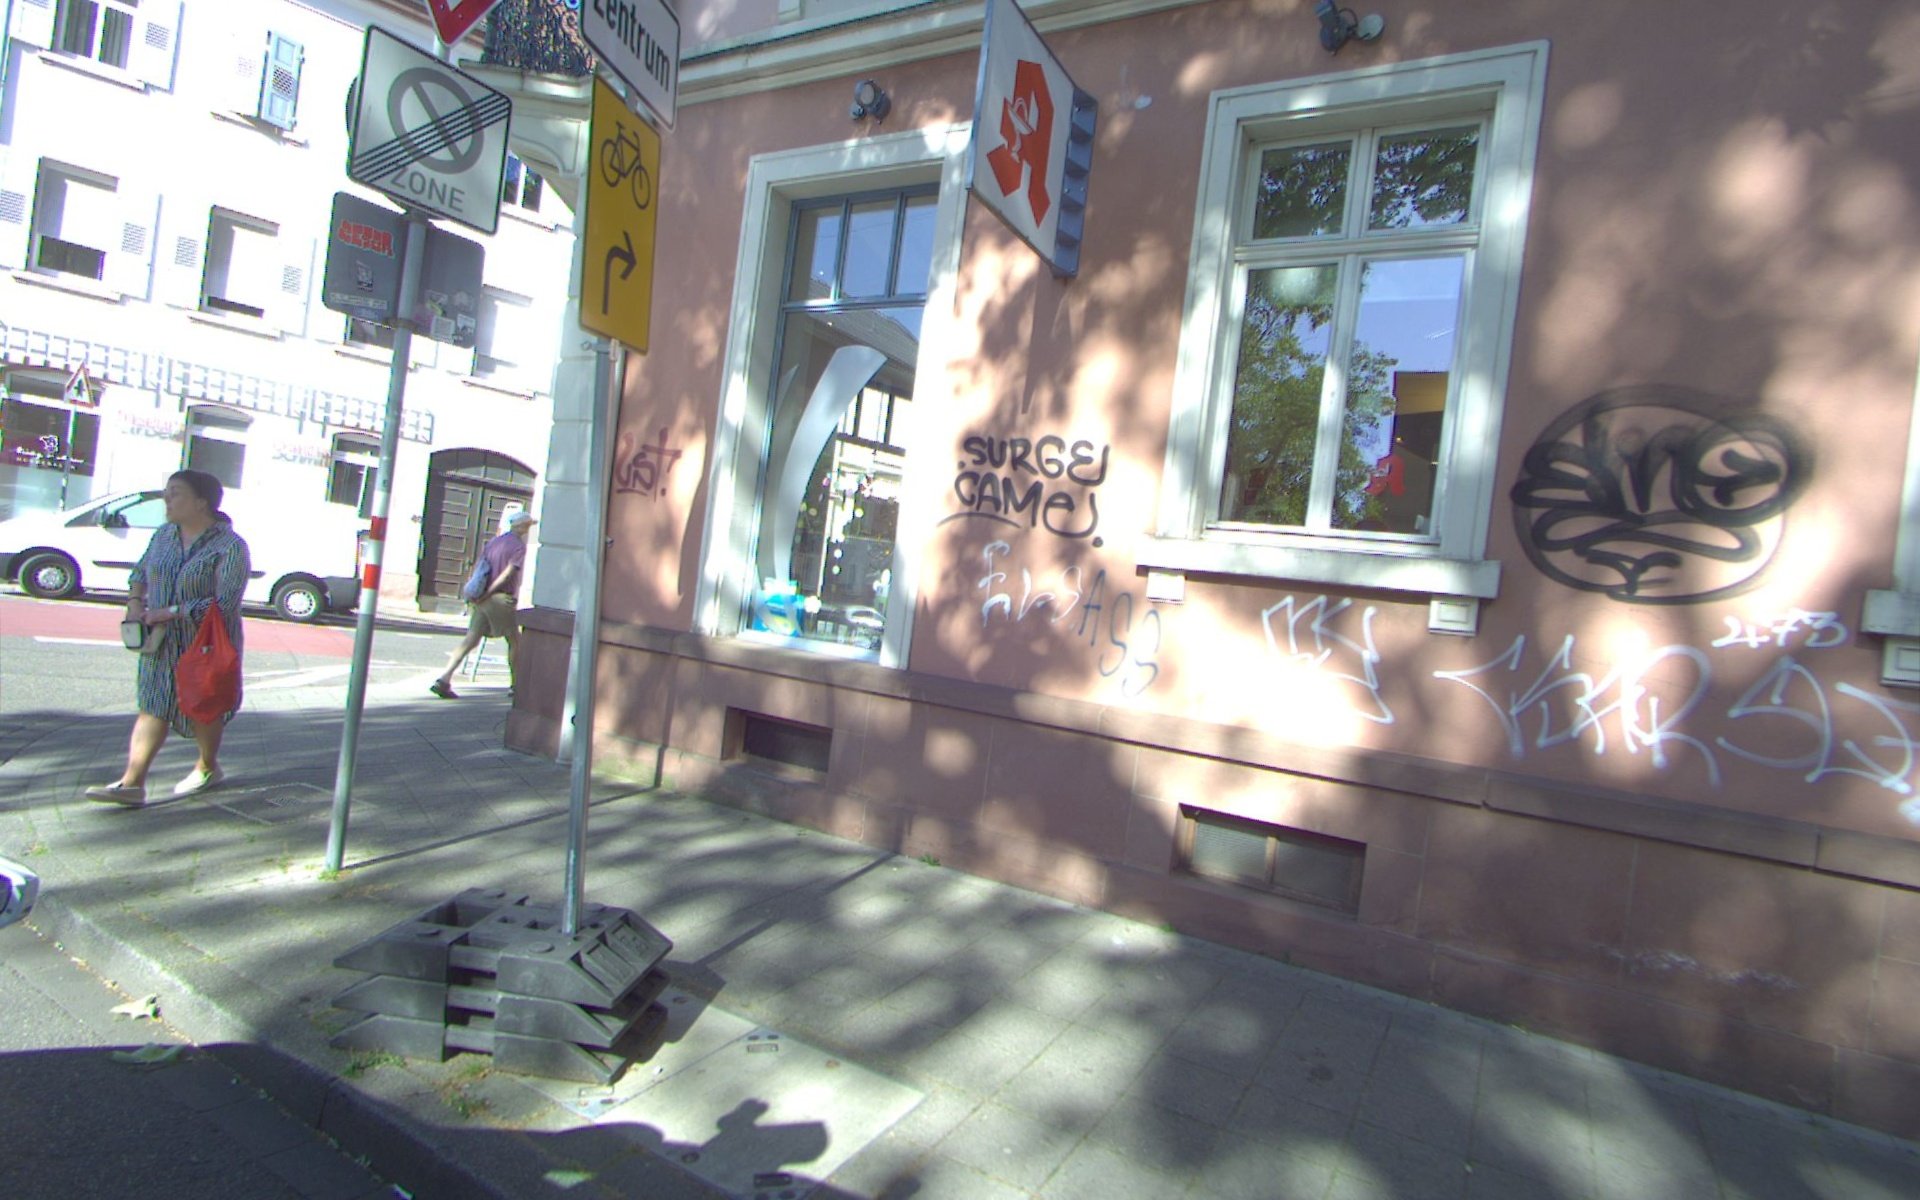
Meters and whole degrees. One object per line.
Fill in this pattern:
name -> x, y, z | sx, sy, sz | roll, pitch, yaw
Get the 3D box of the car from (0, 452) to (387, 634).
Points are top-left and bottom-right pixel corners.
car -> -11.843, -0.792, 15.403 | 4.984, 1.969, 2.030 | 9, -1, -37

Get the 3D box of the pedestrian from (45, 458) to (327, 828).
pedestrian -> -3.770, 0.164, 4.914 | 0.832, 1.595, 0.843 | 6, 4, 31

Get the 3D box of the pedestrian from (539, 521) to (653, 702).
pedestrian -> -3.571, 0.110, 9.892 | 0.616, 1.689, 0.835 | 2, 1, 31

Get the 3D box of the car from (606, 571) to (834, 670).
car -> -5.049, 0.476, 21.466 | 4.348, 1.559, 1.630 | 9, -3, -37

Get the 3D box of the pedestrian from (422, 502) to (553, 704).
pedestrian -> -4.421, 0.021, 9.423 | 0.817, 1.787, 0.750 | 3, 1, 30
